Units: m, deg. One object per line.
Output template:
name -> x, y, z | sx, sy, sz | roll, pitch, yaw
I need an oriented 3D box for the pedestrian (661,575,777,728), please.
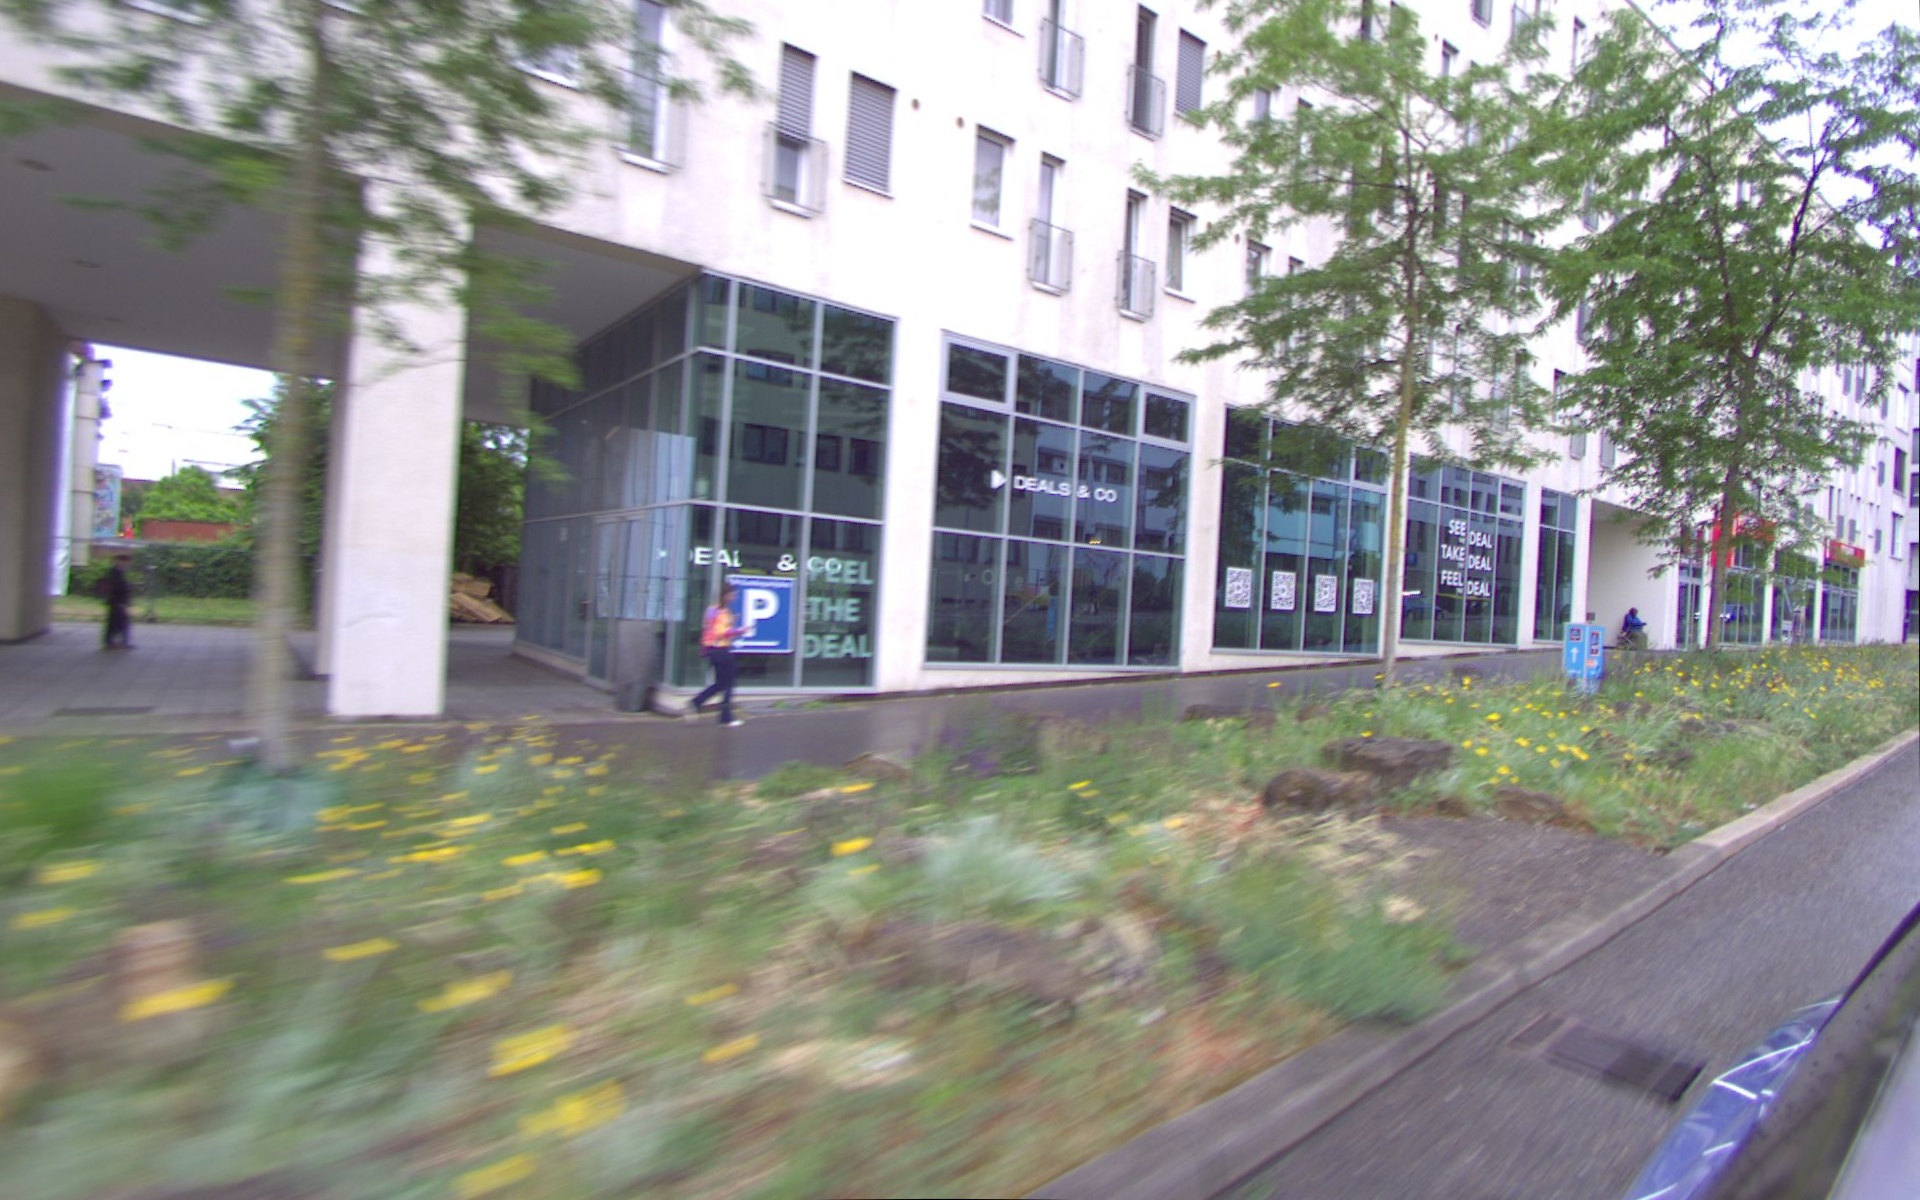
pedestrian -> -2.889, 0.594, 12.114 | 1.066, 1.734, 0.876 | 3, -2, -32
